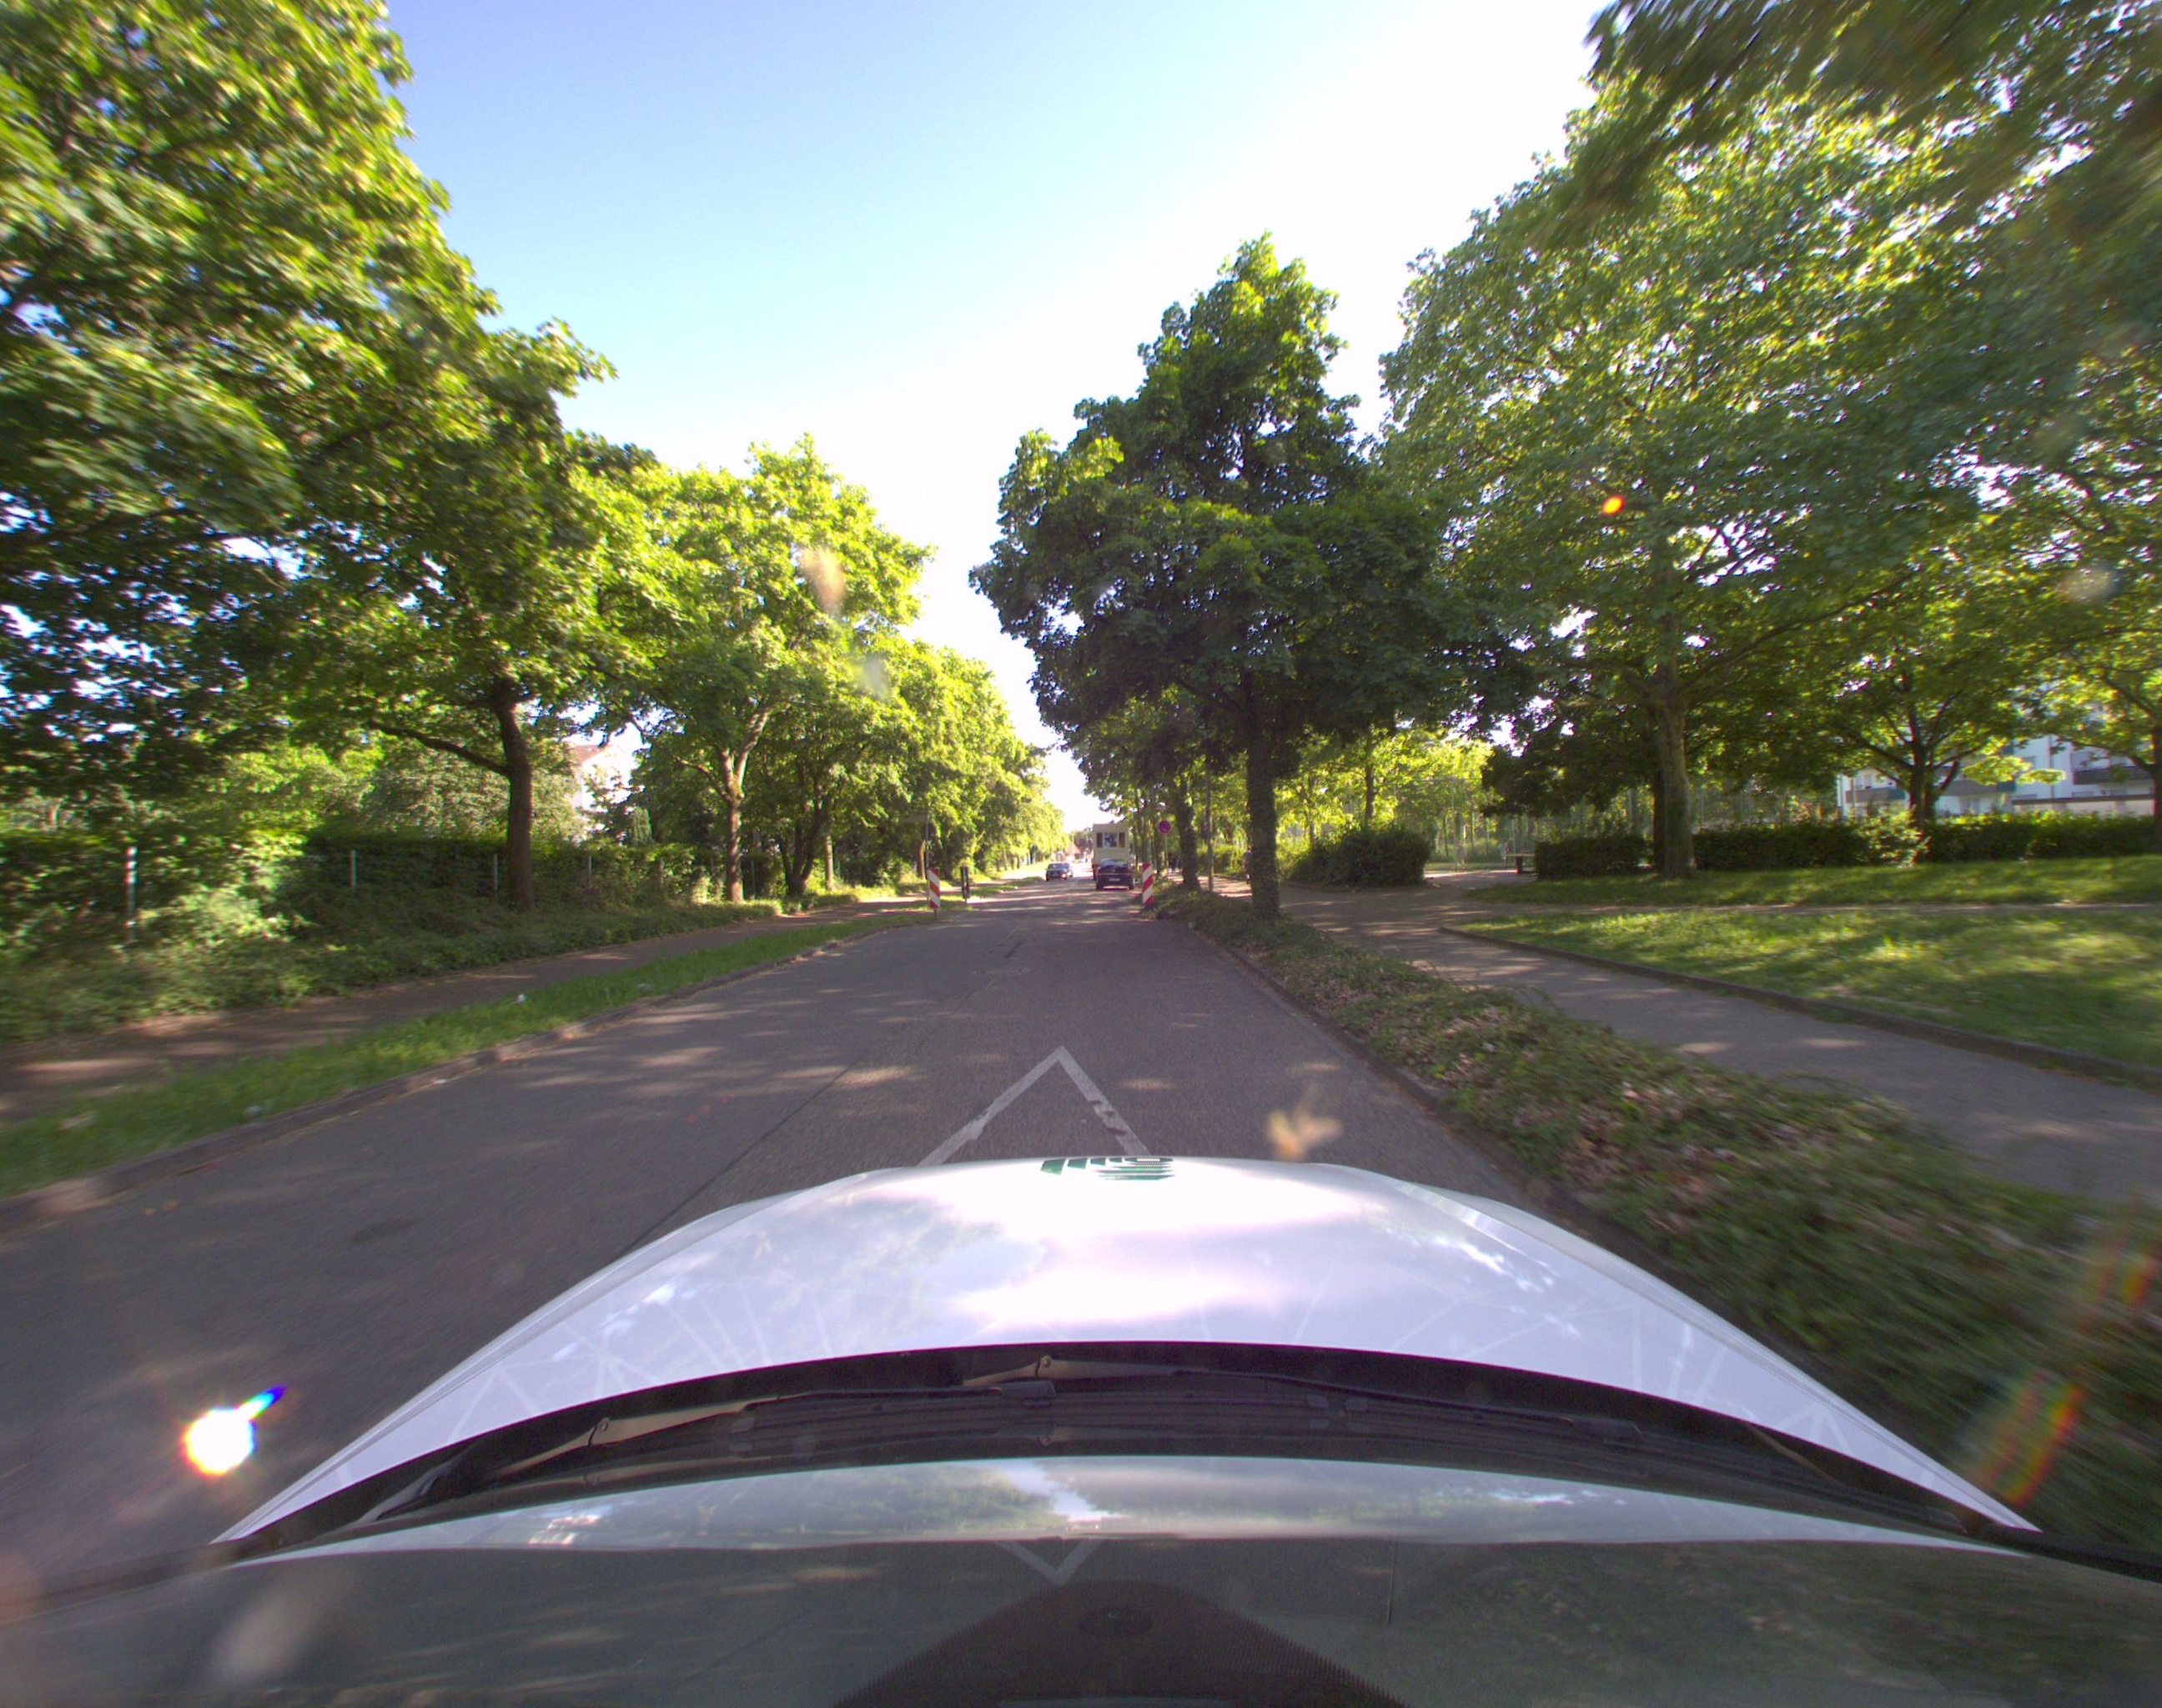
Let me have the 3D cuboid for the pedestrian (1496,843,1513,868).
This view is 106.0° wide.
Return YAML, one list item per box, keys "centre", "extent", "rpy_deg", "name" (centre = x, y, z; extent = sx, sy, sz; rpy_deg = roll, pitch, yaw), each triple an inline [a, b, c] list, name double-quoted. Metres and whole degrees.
- centre: [19.722, 0.084, 37.939]
  extent: [0.497, 1.172, 0.557]
  rpy_deg: [1, -1, -44]
  name: "pedestrian"

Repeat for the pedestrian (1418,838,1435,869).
- centre: [18.185, -0.040, 42.856]
  extent: [0.691, 1.611, 0.704]
  rpy_deg: [0, -1, 31]
  name: "pedestrian"

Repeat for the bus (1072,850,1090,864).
- centre: [0.074, 0.876, 215.752]
  extent: [4.047, 3.349, 9.810]
  rpy_deg: [-3, 0, 4]
  name: "bus"

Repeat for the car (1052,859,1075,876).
- centre: [-1.576, 1.231, 76.077]
  extent: [1.748, 1.454, 4.246]
  rpy_deg: [-3, 0, 3]
  name: "car"

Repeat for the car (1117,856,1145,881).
- centre: [3.128, 0.859, 50.960]
  extent: [1.633, 1.420, 4.004]
  rpy_deg: [-3, 0, 4]
  name: "car"

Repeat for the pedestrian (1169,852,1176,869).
- centre: [8.962, 0.637, 79.703]
  extent: [0.596, 1.611, 0.600]
  rpy_deg: [-3, -1, -2]
  name: "pedestrian"

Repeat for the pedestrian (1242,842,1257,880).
- centre: [7.144, 0.291, 34.586]
  extent: [0.568, 1.608, 0.673]
  rpy_deg: [-2, -1, 10]
  name: "pedestrian"

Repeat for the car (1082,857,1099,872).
- centre: [1.426, 1.584, 122.855]
  extent: [1.983, 2.013, 4.008]
  rpy_deg: [-2, 0, 7]
  name: "car"

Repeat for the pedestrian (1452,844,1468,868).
- centre: [18.827, 0.107, 40.464]
  extent: [0.495, 1.172, 0.560]
  rpy_deg: [0, -1, -22]
  name: "pedestrian"

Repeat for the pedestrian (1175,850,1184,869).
- centre: [9.533, 0.542, 79.067]
  extent: [0.696, 1.812, 0.700]
  rpy_deg: [-3, -1, -2]
  name: "pedestrian"

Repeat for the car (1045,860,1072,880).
- centre: [-1.770, 1.288, 65.750]
  extent: [1.592, 1.426, 3.658]
  rpy_deg: [-3, 0, 6]
  name: "car"

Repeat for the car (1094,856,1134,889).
- centre: [1.599, 0.862, 38.504]
  extent: [1.741, 1.480, 4.033]
  rpy_deg: [-1, -1, 3]
  name: "car"

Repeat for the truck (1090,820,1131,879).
- centre: [2.091, -0.281, 60.640]
  extent: [2.763, 3.996, 10.349]
  rpy_deg: [-1, 0, 1]
  name: "truck"
